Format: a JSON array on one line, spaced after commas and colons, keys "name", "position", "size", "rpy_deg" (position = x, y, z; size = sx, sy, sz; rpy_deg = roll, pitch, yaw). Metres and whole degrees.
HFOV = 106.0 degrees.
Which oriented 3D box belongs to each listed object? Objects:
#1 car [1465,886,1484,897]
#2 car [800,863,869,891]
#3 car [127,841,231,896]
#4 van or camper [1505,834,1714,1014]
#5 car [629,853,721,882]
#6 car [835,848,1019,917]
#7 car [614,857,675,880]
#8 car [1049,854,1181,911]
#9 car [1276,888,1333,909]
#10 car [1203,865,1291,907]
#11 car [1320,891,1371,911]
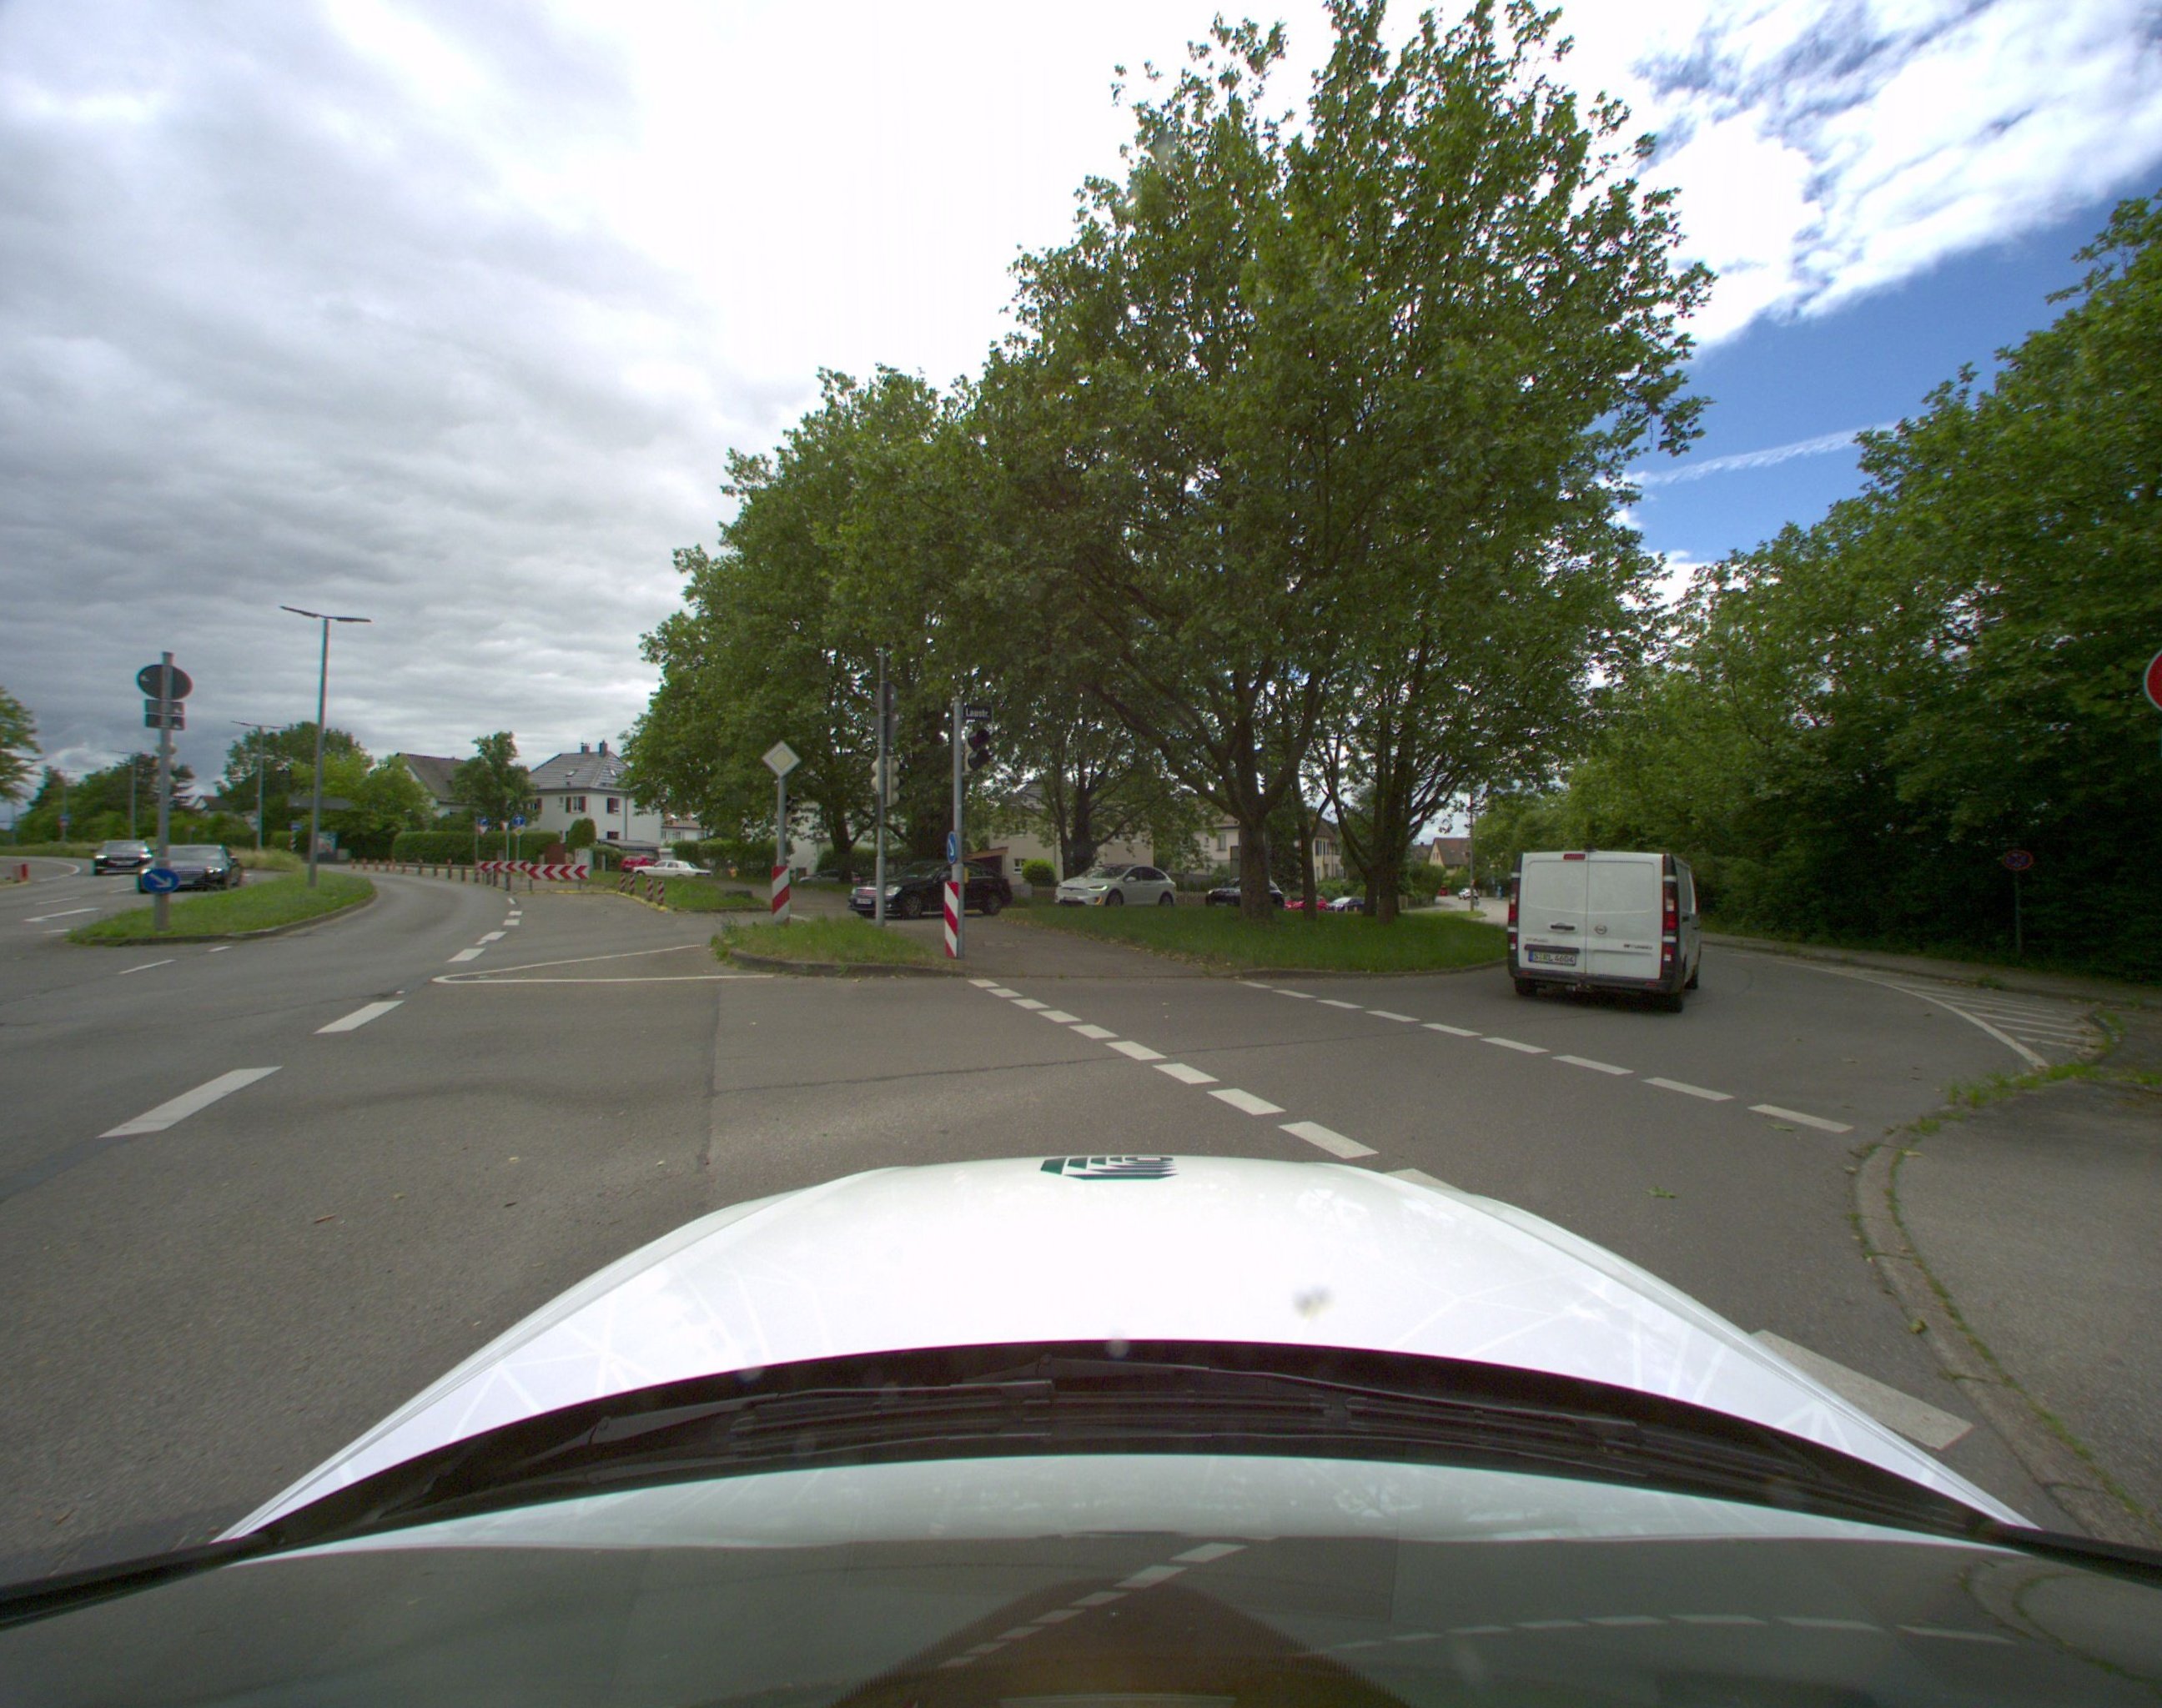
[{"name": "car", "position": [56.835, 5.396, 117.734], "size": [1.716, 1.474, 3.391], "rpy_deg": [1, -2, 11]}, {"name": "car", "position": [-15.948, 1.487, 52.841], "size": [3.978, 1.514, 1.659], "rpy_deg": [3, 0, -6]}, {"name": "car", "position": [-29.237, 0.406, 26.363], "size": [4.206, 1.631, 1.858], "rpy_deg": [0, 1, 37]}, {"name": "van or camper", "position": [7.690, 0.790, 11.608], "size": [1.906, 2.013, 4.859], "rpy_deg": [0, 0, 40]}, {"name": "car", "position": [-26.403, 0.882, 53.052], "size": [4.843, 1.791, 2.220], "rpy_deg": [1, 0, 5]}, {"name": "car", "position": [-3.672, 0.721, 20.219], "size": [1.740, 1.517, 4.414], "rpy_deg": [0, -2, 37]}, {"name": "car", "position": [-31.673, 1.059, 59.204], "size": [1.593, 1.517, 3.838], "rpy_deg": [1, -2, 14]}, {"name": "car", "position": [1.219, 0.832, 26.429], "size": [1.833, 1.658, 4.937], "rpy_deg": [0, 0, 37]}, {"name": "car", "position": [17.150, 3.414, 62.410], "size": [4.293, 1.474, 1.715], "rpy_deg": [2, -3, -32]}, {"name": "car", "position": [6.993, 1.281, 33.914], "size": [1.740, 1.591, 4.642], "rpy_deg": [0, 0, 37]}, {"name": "car", "position": [21.244, 3.759, 65.426], "size": [4.333, 1.474, 1.713], "rpy_deg": [3, -3, -37]}]
